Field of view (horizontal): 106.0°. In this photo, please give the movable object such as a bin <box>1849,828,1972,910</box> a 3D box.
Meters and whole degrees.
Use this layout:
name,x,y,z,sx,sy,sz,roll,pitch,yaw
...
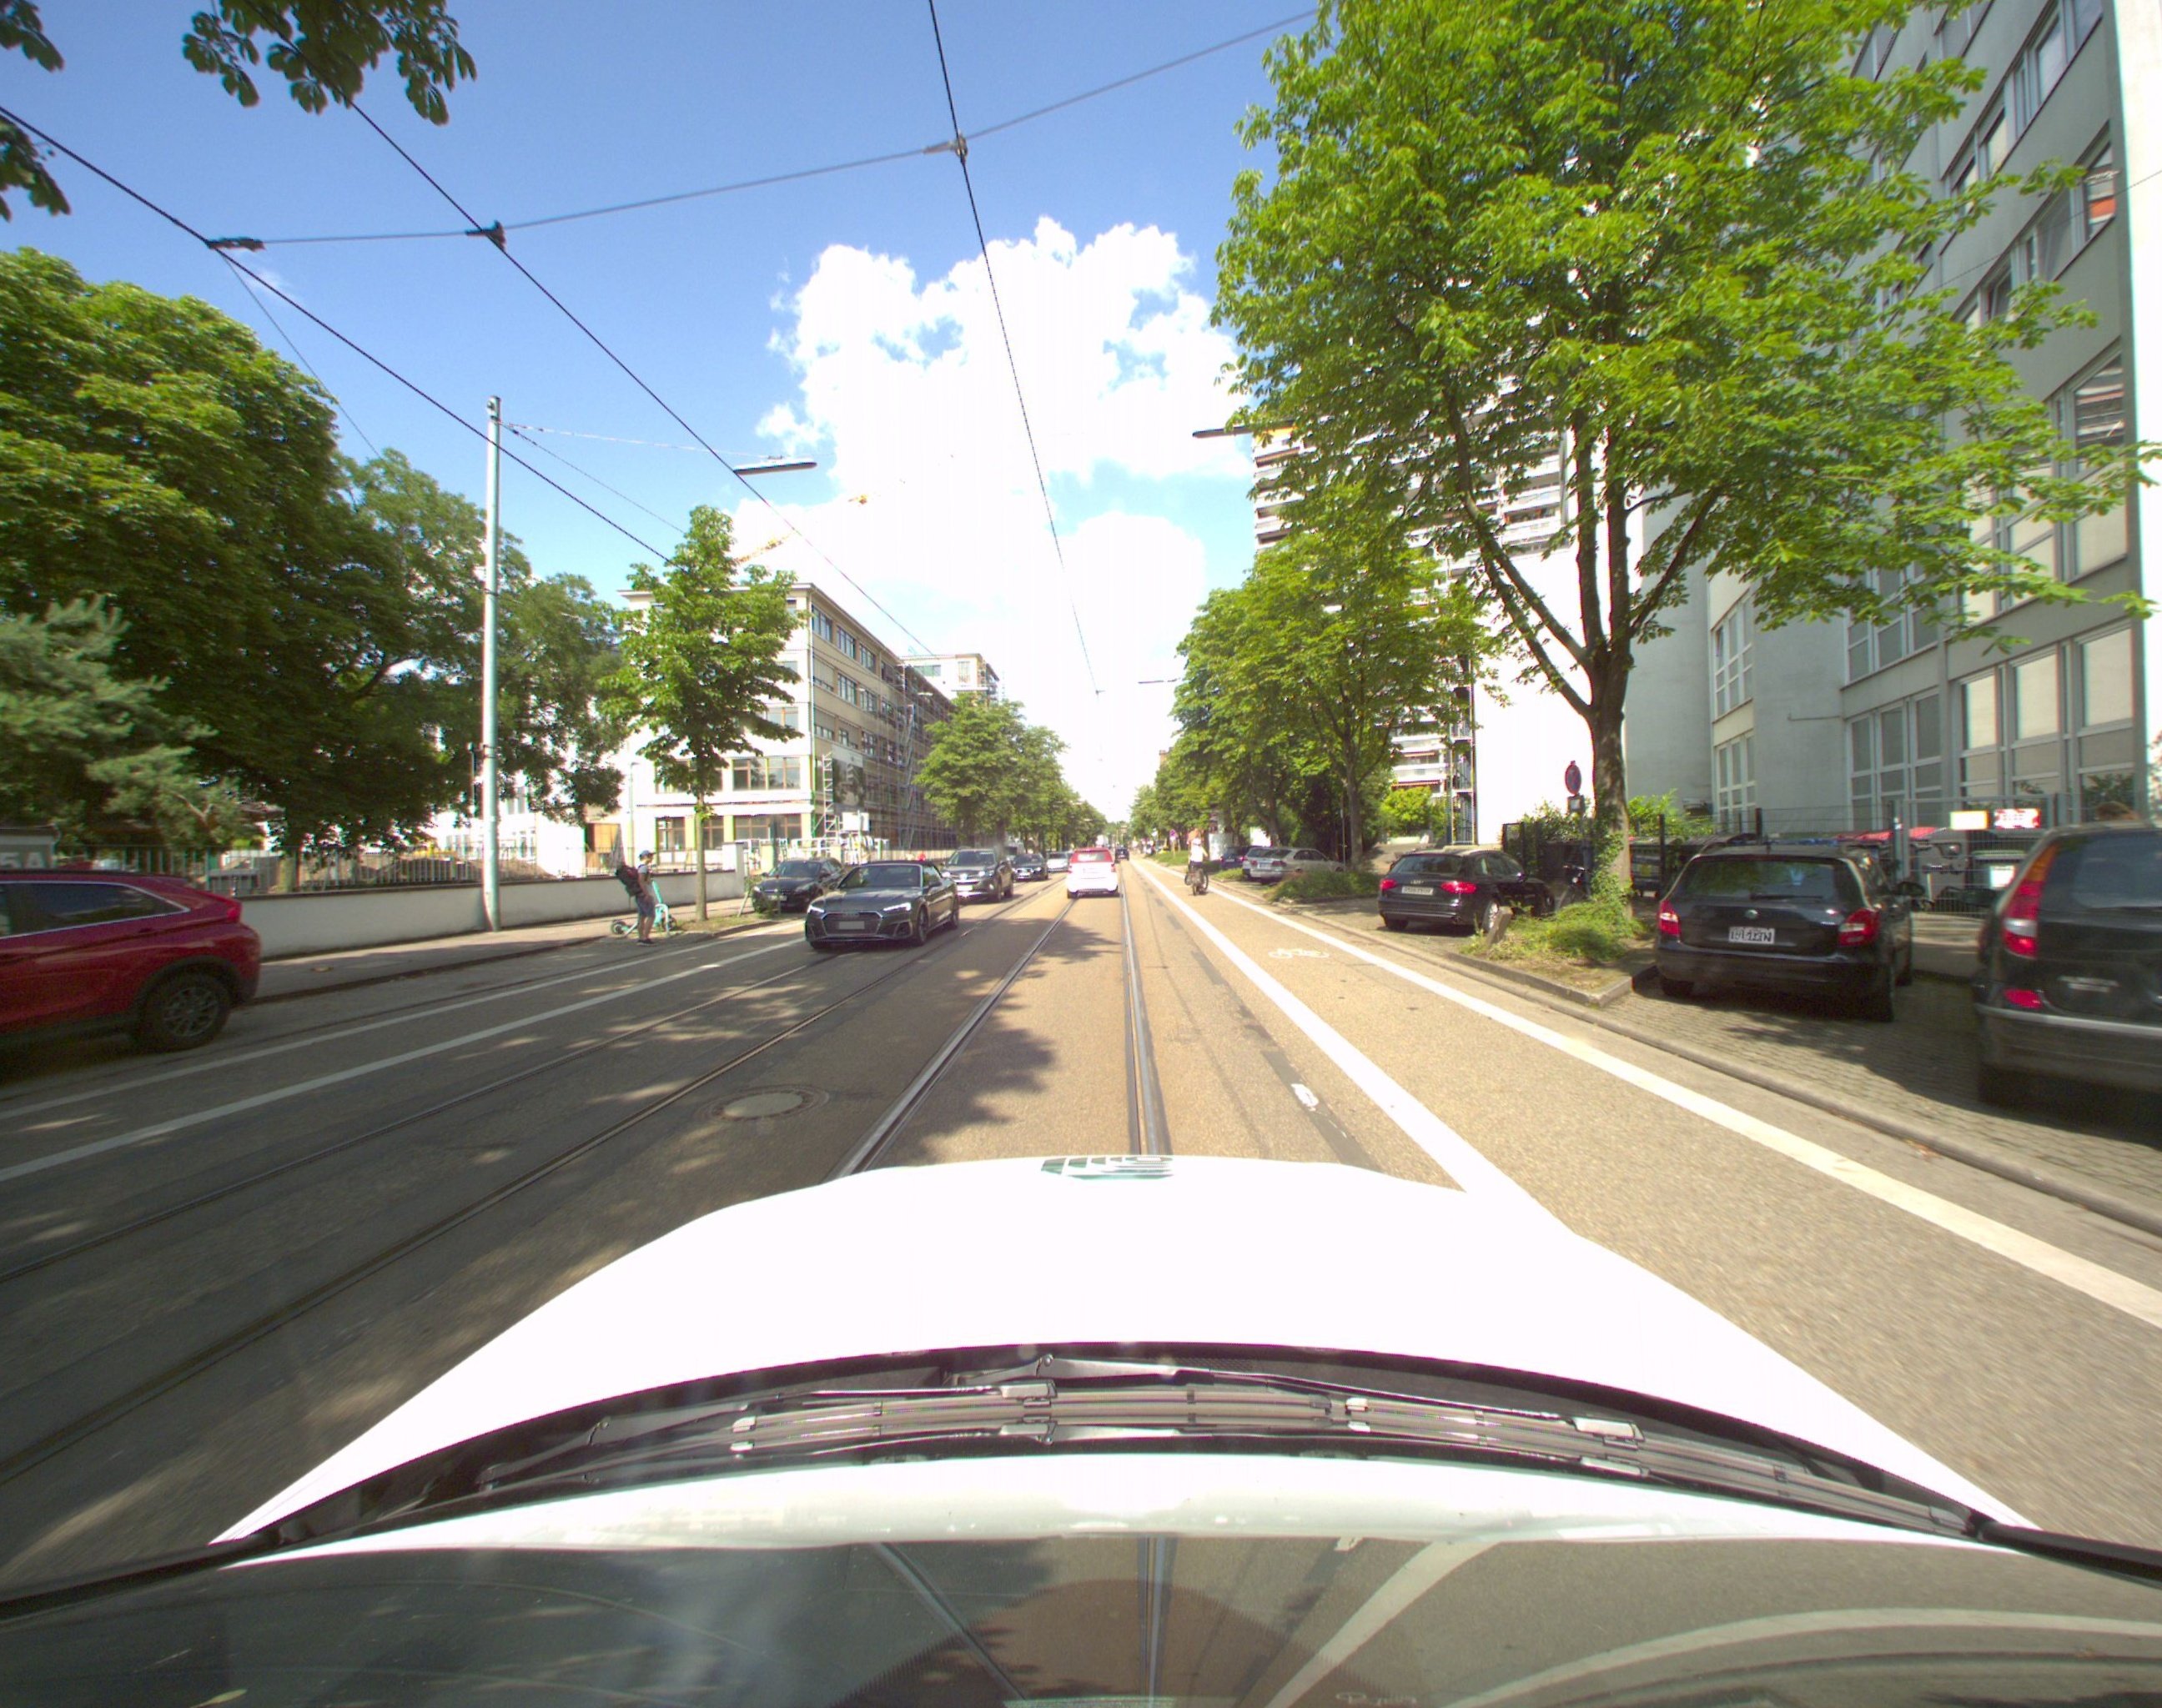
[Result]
name,x,y,z,sx,sy,sz,roll,pitch,yaw
movable object such as a bin,15.653,0.270,15.438,1.194,1.456,1.461,-1,0,26

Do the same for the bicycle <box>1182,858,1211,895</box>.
name,x,y,z,sx,sy,sz,roll,pitch,yaw
bicycle,3.716,0.706,26.191,0.870,1.126,2.141,0,0,8

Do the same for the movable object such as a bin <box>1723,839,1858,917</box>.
name,x,y,z,sx,sy,sz,roll,pitch,yaw
movable object such as a bin,12.621,0.415,14.554,1.270,1.318,1.326,-1,0,2

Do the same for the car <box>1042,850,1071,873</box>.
name,x,y,z,sx,sy,sz,roll,pitch,yaw
car,-1.676,0.494,56.841,1.766,1.416,3.854,-4,0,2

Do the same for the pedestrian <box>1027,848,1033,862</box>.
name,x,y,z,sx,sy,sz,roll,pitch,yaw
pedestrian,-7.361,0.116,117.676,0.802,2.013,0.484,-1,0,-7

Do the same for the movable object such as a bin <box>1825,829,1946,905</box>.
name,x,y,z,sx,sy,sz,roll,pitch,yaw
movable object such as a bin,16.451,0.250,16.716,1.362,1.447,1.271,-3,0,23

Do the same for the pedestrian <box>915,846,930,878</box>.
name,x,y,z,sx,sy,sz,roll,pitch,yaw
pedestrian,-9.306,0.453,47.746,0.706,1.831,0.661,2,1,-3

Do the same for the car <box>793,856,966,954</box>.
name,x,y,z,sx,sy,sz,roll,pitch,yaw
car,-3.386,0.791,14.624,1.792,1.388,4.428,-2,0,2

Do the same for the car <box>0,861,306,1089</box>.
name,x,y,z,sx,sy,sz,roll,pitch,yaw
car,-8.893,0.911,6.002,1.744,1.665,4.722,0,0,1

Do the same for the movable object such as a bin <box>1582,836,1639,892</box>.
name,x,y,z,sx,sy,sz,roll,pitch,yaw
movable object such as a bin,14.497,0.253,22.354,1.252,1.480,0.943,0,1,29

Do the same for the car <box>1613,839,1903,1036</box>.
name,x,y,z,sx,sy,sz,roll,pitch,yaw
car,7.017,0.608,8.287,4.098,1.443,1.705,-2,3,-42

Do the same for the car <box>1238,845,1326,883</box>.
name,x,y,z,sx,sy,sz,roll,pitch,yaw
car,8.542,0.390,34.506,3.824,1.474,1.634,-1,1,-39

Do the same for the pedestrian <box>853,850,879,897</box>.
name,x,y,z,sx,sy,sz,roll,pitch,yaw
pedestrian,-7.616,0.682,28.808,0.730,1.637,0.685,0,0,-32

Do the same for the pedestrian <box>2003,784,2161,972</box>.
name,x,y,z,sx,sy,sz,roll,pitch,yaw
pedestrian,10.708,0.236,8.622,0.756,1.873,1.004,-1,0,8

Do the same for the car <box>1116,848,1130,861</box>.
name,x,y,z,sx,sy,sz,roll,pitch,yaw
car,5.250,0.037,101.609,1.659,1.624,3.622,-2,0,2

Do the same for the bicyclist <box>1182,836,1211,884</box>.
name,x,y,z,sx,sy,sz,roll,pitch,yaw
bicyclist,3.702,0.186,26.109,0.885,1.528,1.087,0,0,8

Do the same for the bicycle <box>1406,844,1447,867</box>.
name,x,y,z,sx,sy,sz,roll,pitch,yaw
bicycle,17.171,0.097,40.504,1.809,1.095,0.454,-2,1,33

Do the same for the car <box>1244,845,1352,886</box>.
name,x,y,z,sx,sy,sz,roll,pitch,yaw
car,8.410,0.408,31.396,4.262,1.420,1.705,-2,1,-36

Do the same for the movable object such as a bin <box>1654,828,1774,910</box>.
name,x,y,z,sx,sy,sz,roll,pitch,yaw
movable object such as a bin,12.563,0.282,16.238,1.270,1.539,1.470,-1,0,2

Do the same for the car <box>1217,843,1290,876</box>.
name,x,y,z,sx,sy,sz,roll,pitch,yaw
car,8.761,0.265,41.221,4.023,1.486,1.596,-3,0,-44

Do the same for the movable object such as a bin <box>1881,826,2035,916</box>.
name,x,y,z,sx,sy,sz,roll,pitch,yaw
movable object such as a bin,15.057,0.280,14.056,1.362,1.447,1.271,-3,0,23

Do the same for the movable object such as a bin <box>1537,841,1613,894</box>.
name,x,y,z,sx,sy,sz,roll,pitch,yaw
movable object such as a bin,12.906,0.346,21.314,1.270,1.336,1.237,0,0,1

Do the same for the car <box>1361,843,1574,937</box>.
name,x,y,z,sx,sy,sz,roll,pitch,yaw
car,7.166,0.566,14.861,4.561,1.442,2.007,0,0,-43

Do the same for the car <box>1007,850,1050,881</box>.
name,x,y,z,sx,sy,sz,roll,pitch,yaw
car,-2.573,0.552,41.005,1.716,1.376,4.001,-3,0,1

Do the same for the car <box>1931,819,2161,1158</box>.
name,x,y,z,sx,sy,sz,roll,pitch,yaw
car,6.688,0.617,4.920,4.020,1.574,1.883,0,0,-40

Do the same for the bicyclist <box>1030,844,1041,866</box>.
name,x,y,z,sx,sy,sz,roll,pitch,yaw
bicyclist,-4.186,0.115,75.381,0.873,2.014,0.834,-3,-1,1

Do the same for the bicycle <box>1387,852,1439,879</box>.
name,x,y,z,sx,sy,sz,roll,pitch,yaw
bicycle,13.517,0.483,33.175,1.877,1.053,0.454,-2,0,33

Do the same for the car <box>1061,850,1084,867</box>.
name,x,y,z,sx,sy,sz,roll,pitch,yaw
car,-0.721,0.365,70.215,1.680,1.405,4.229,-2,0,3

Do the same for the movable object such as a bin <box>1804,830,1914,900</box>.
name,x,y,z,sx,sy,sz,roll,pitch,yaw
movable object such as a bin,17.222,0.229,18.095,1.362,1.447,1.271,-3,0,23

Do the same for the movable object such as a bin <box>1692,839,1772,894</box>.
name,x,y,z,sx,sy,sz,roll,pitch,yaw
movable object such as a bin,16.775,0.309,21.030,1.200,1.338,1.269,-3,0,18

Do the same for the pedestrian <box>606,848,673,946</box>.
name,x,y,z,sx,sy,sz,roll,pitch,yaw
pedestrian,-8.190,0.781,15.129,0.746,1.766,0.792,0,0,9

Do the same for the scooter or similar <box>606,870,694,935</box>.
name,x,y,z,sx,sy,sz,roll,pitch,yaw
scooter or similar,-8.774,0.975,16.627,1.334,1.279,0.855,0,0,0

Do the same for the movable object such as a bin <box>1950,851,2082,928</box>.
name,x,y,z,sx,sy,sz,roll,pitch,yaw
movable object such as a bin,14.433,0.548,12.619,1.021,1.090,0.936,-4,-1,27

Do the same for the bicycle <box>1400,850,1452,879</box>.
name,x,y,z,sx,sy,sz,roll,pitch,yaw
bicycle,14.110,0.432,33.360,1.877,1.096,0.454,-2,0,33

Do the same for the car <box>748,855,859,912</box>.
name,x,y,z,sx,sy,sz,roll,pitch,yaw
car,-8.063,0.782,24.137,1.744,1.516,4.591,0,0,-1

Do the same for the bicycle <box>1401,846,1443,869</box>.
name,x,y,z,sx,sy,sz,roll,pitch,yaw
bicycle,16.525,0.168,39.493,1.809,1.095,0.454,-1,1,33

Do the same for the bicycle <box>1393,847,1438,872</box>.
name,x,y,z,sx,sy,sz,roll,pitch,yaw
bicycle,15.388,0.257,37.438,1.809,1.095,0.454,-2,3,33

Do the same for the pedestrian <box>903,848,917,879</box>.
name,x,y,z,sx,sy,sz,roll,pitch,yaw
pedestrian,-10.026,0.573,47.738,0.706,1.793,0.661,0,0,-3

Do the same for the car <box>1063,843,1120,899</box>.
name,x,y,z,sx,sy,sz,roll,pitch,yaw
car,0.380,0.496,26.126,1.659,1.624,3.622,-1,1,2

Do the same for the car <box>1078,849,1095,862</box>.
name,x,y,z,sx,sy,sz,roll,pitch,yaw
car,0.690,0.164,98.362,1.792,1.508,4.541,-1,0,4

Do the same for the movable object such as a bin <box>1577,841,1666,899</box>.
name,x,y,z,sx,sy,sz,roll,pitch,yaw
movable object such as a bin,13.006,0.374,19.647,1.270,1.336,1.359,0,0,1

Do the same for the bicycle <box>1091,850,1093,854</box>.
name,x,y,z,sx,sy,sz,roll,pitch,yaw
bicycle,2.821,-0.568,204.888,0.616,0.973,1.717,-1,0,1

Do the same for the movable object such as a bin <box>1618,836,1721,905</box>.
name,x,y,z,sx,sy,sz,roll,pitch,yaw
movable object such as a bin,12.990,0.340,18.033,1.273,1.437,1.350,1,1,-5

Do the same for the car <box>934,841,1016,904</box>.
name,x,y,z,sx,sy,sz,roll,pitch,yaw
car,-3.134,0.518,24.957,1.819,1.727,4.393,-1,0,1

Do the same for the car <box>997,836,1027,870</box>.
name,x,y,z,sx,sy,sz,roll,pitch,yaw
car,-5.758,-0.067,68.829,1.762,2.639,5.325,-3,0,2
